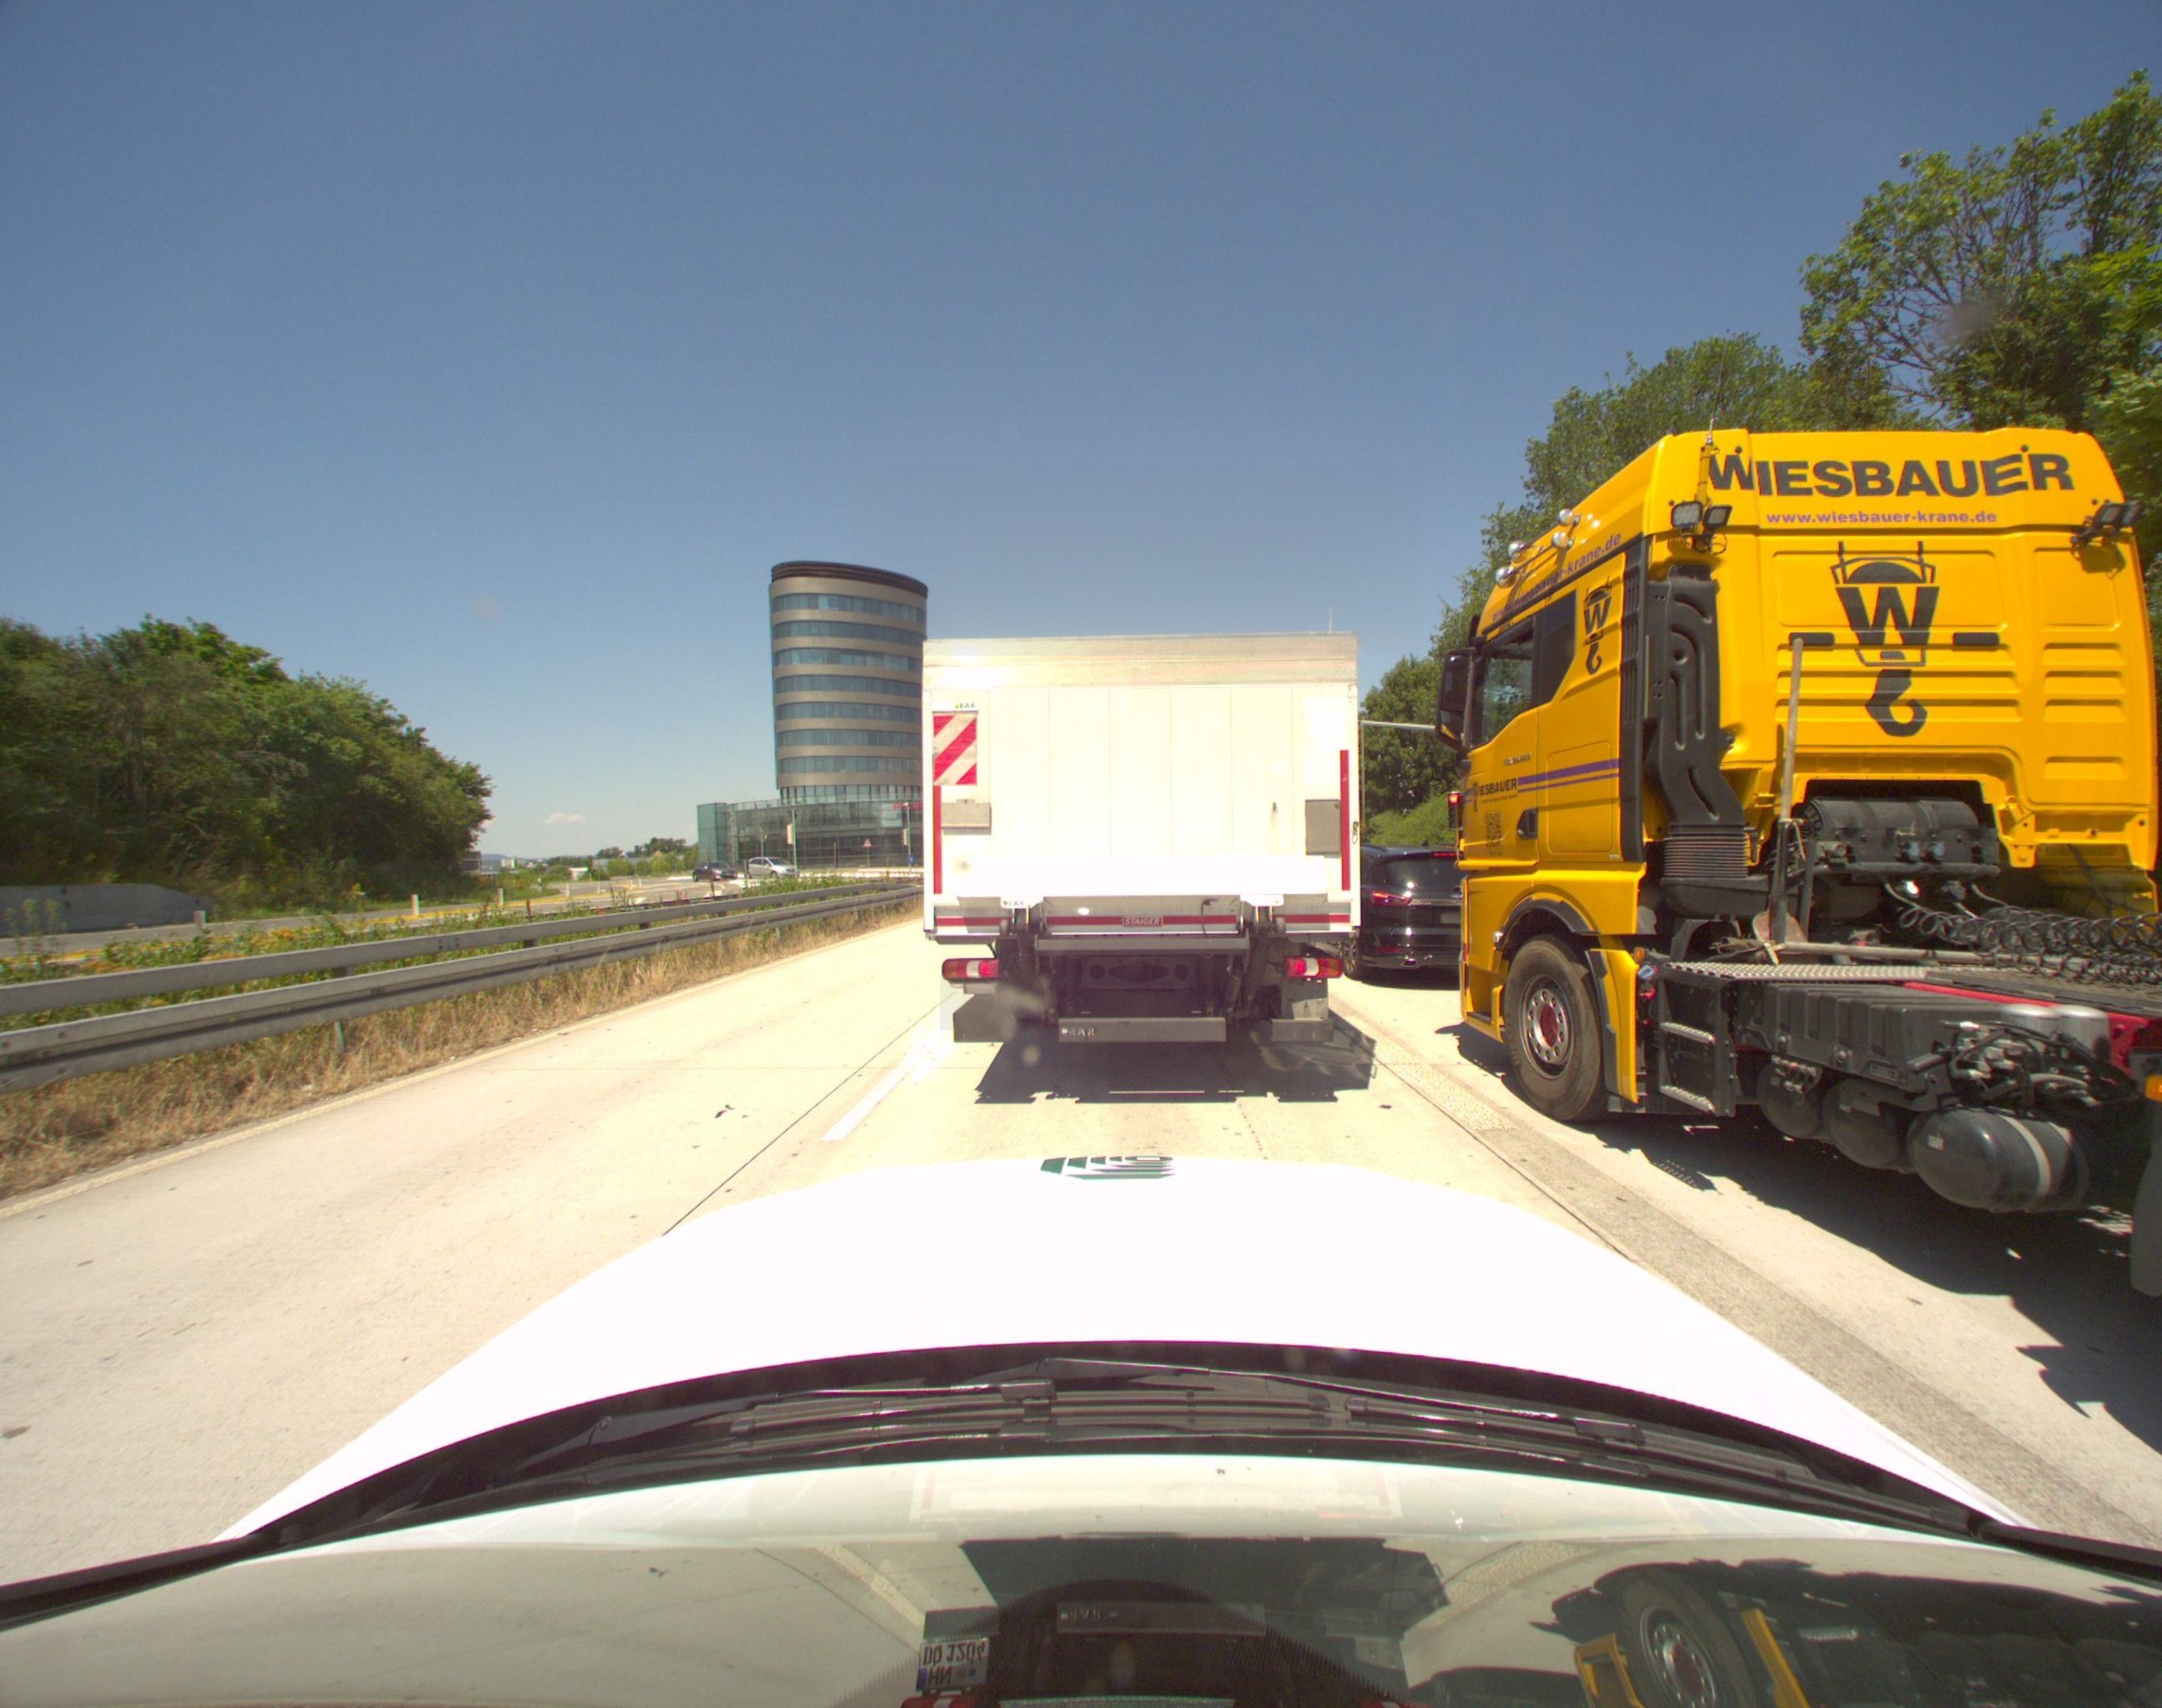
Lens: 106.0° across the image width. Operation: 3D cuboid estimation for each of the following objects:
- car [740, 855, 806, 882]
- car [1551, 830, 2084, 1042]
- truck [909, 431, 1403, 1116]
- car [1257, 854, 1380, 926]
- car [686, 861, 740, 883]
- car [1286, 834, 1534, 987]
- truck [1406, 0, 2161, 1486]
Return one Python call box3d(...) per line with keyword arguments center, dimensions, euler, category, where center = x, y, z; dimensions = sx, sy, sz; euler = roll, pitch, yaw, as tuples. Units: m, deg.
box3d(center=(-20.655, 0.978, 54.574), dimensions=(4.274, 1.595, 1.788), euler=(-3, -2, 29), category="car")
box3d(center=(7.740, 0.718, 9.417), dimensions=(1.763, 1.807, 4.789), euler=(0, 0, -2), category="car")
box3d(center=(0.562, -0.425, 9.296), dimensions=(2.759, 3.860, 9.374), euler=(0, -1, 2), category="truck")
box3d(center=(5.147, 0.727, 18.255), dimensions=(1.759, 1.410, 4.615), euler=(0, 0, 5), category="car")
box3d(center=(-26.721, 1.301, 59.096), dimensions=(4.273, 1.456, 1.708), euler=(-3, -2, 37), category="car")
box3d(center=(4.118, 0.628, 11.105), dimensions=(1.776, 1.639, 4.652), euler=(0, 0, 4), category="car")
box3d(center=(3.940, -0.466, 2.441), dimensions=(3.003, 3.772, 7.470), euler=(0, 0, 0), category="truck")
